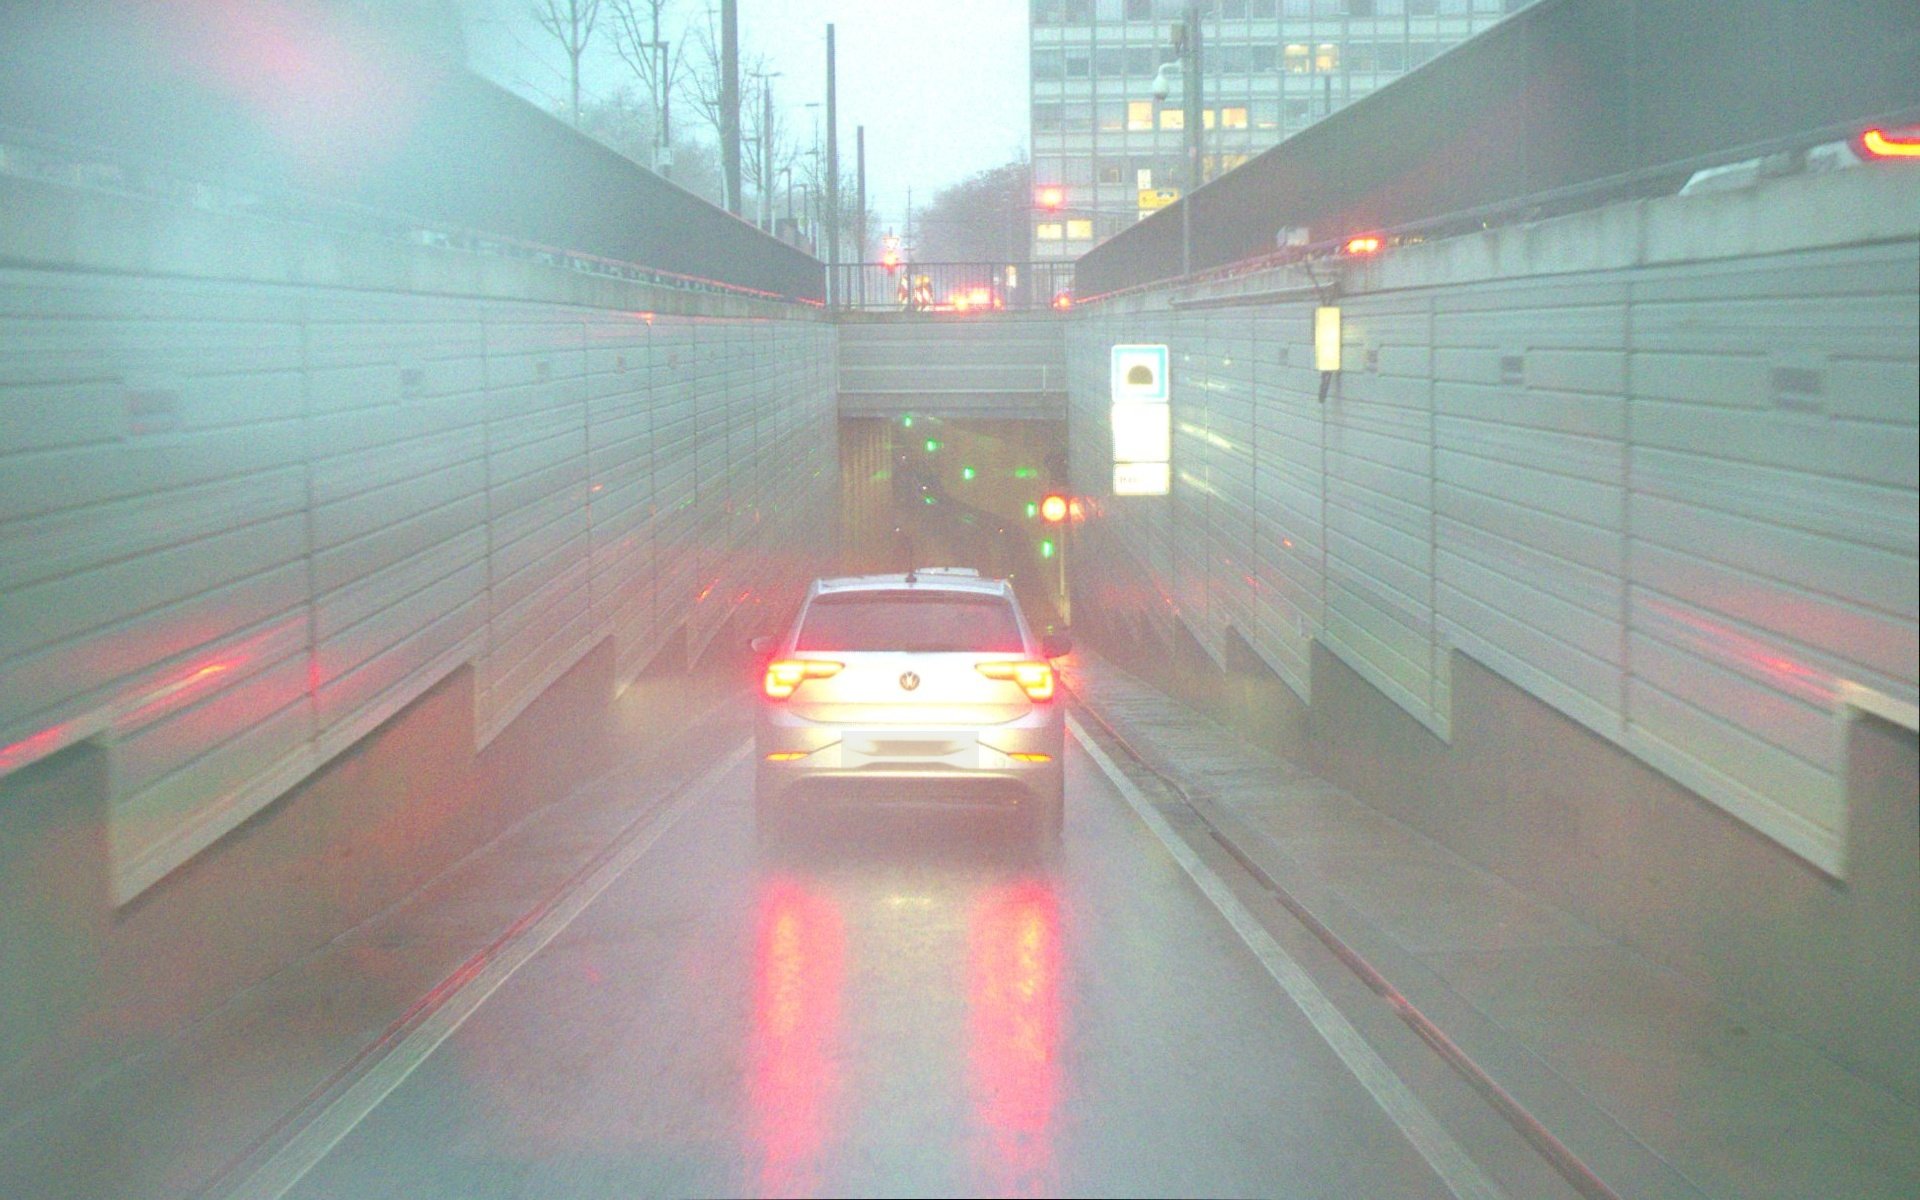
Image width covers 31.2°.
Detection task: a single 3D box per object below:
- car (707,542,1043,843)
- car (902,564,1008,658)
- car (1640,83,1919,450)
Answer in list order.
[{"bbox_3d":[-0.401,0.451,20.075,1.722,1.474,4.000,2,2,1],"label":"car"},{"bbox_3d":[-0.125,0.186,66.169,1.919,1.480,4.001,1,4,-1],"label":"car"},{"bbox_3d":[4.392,-1.472,15.974,1.722,1.474,4.001,2,4,1],"label":"car"}]
